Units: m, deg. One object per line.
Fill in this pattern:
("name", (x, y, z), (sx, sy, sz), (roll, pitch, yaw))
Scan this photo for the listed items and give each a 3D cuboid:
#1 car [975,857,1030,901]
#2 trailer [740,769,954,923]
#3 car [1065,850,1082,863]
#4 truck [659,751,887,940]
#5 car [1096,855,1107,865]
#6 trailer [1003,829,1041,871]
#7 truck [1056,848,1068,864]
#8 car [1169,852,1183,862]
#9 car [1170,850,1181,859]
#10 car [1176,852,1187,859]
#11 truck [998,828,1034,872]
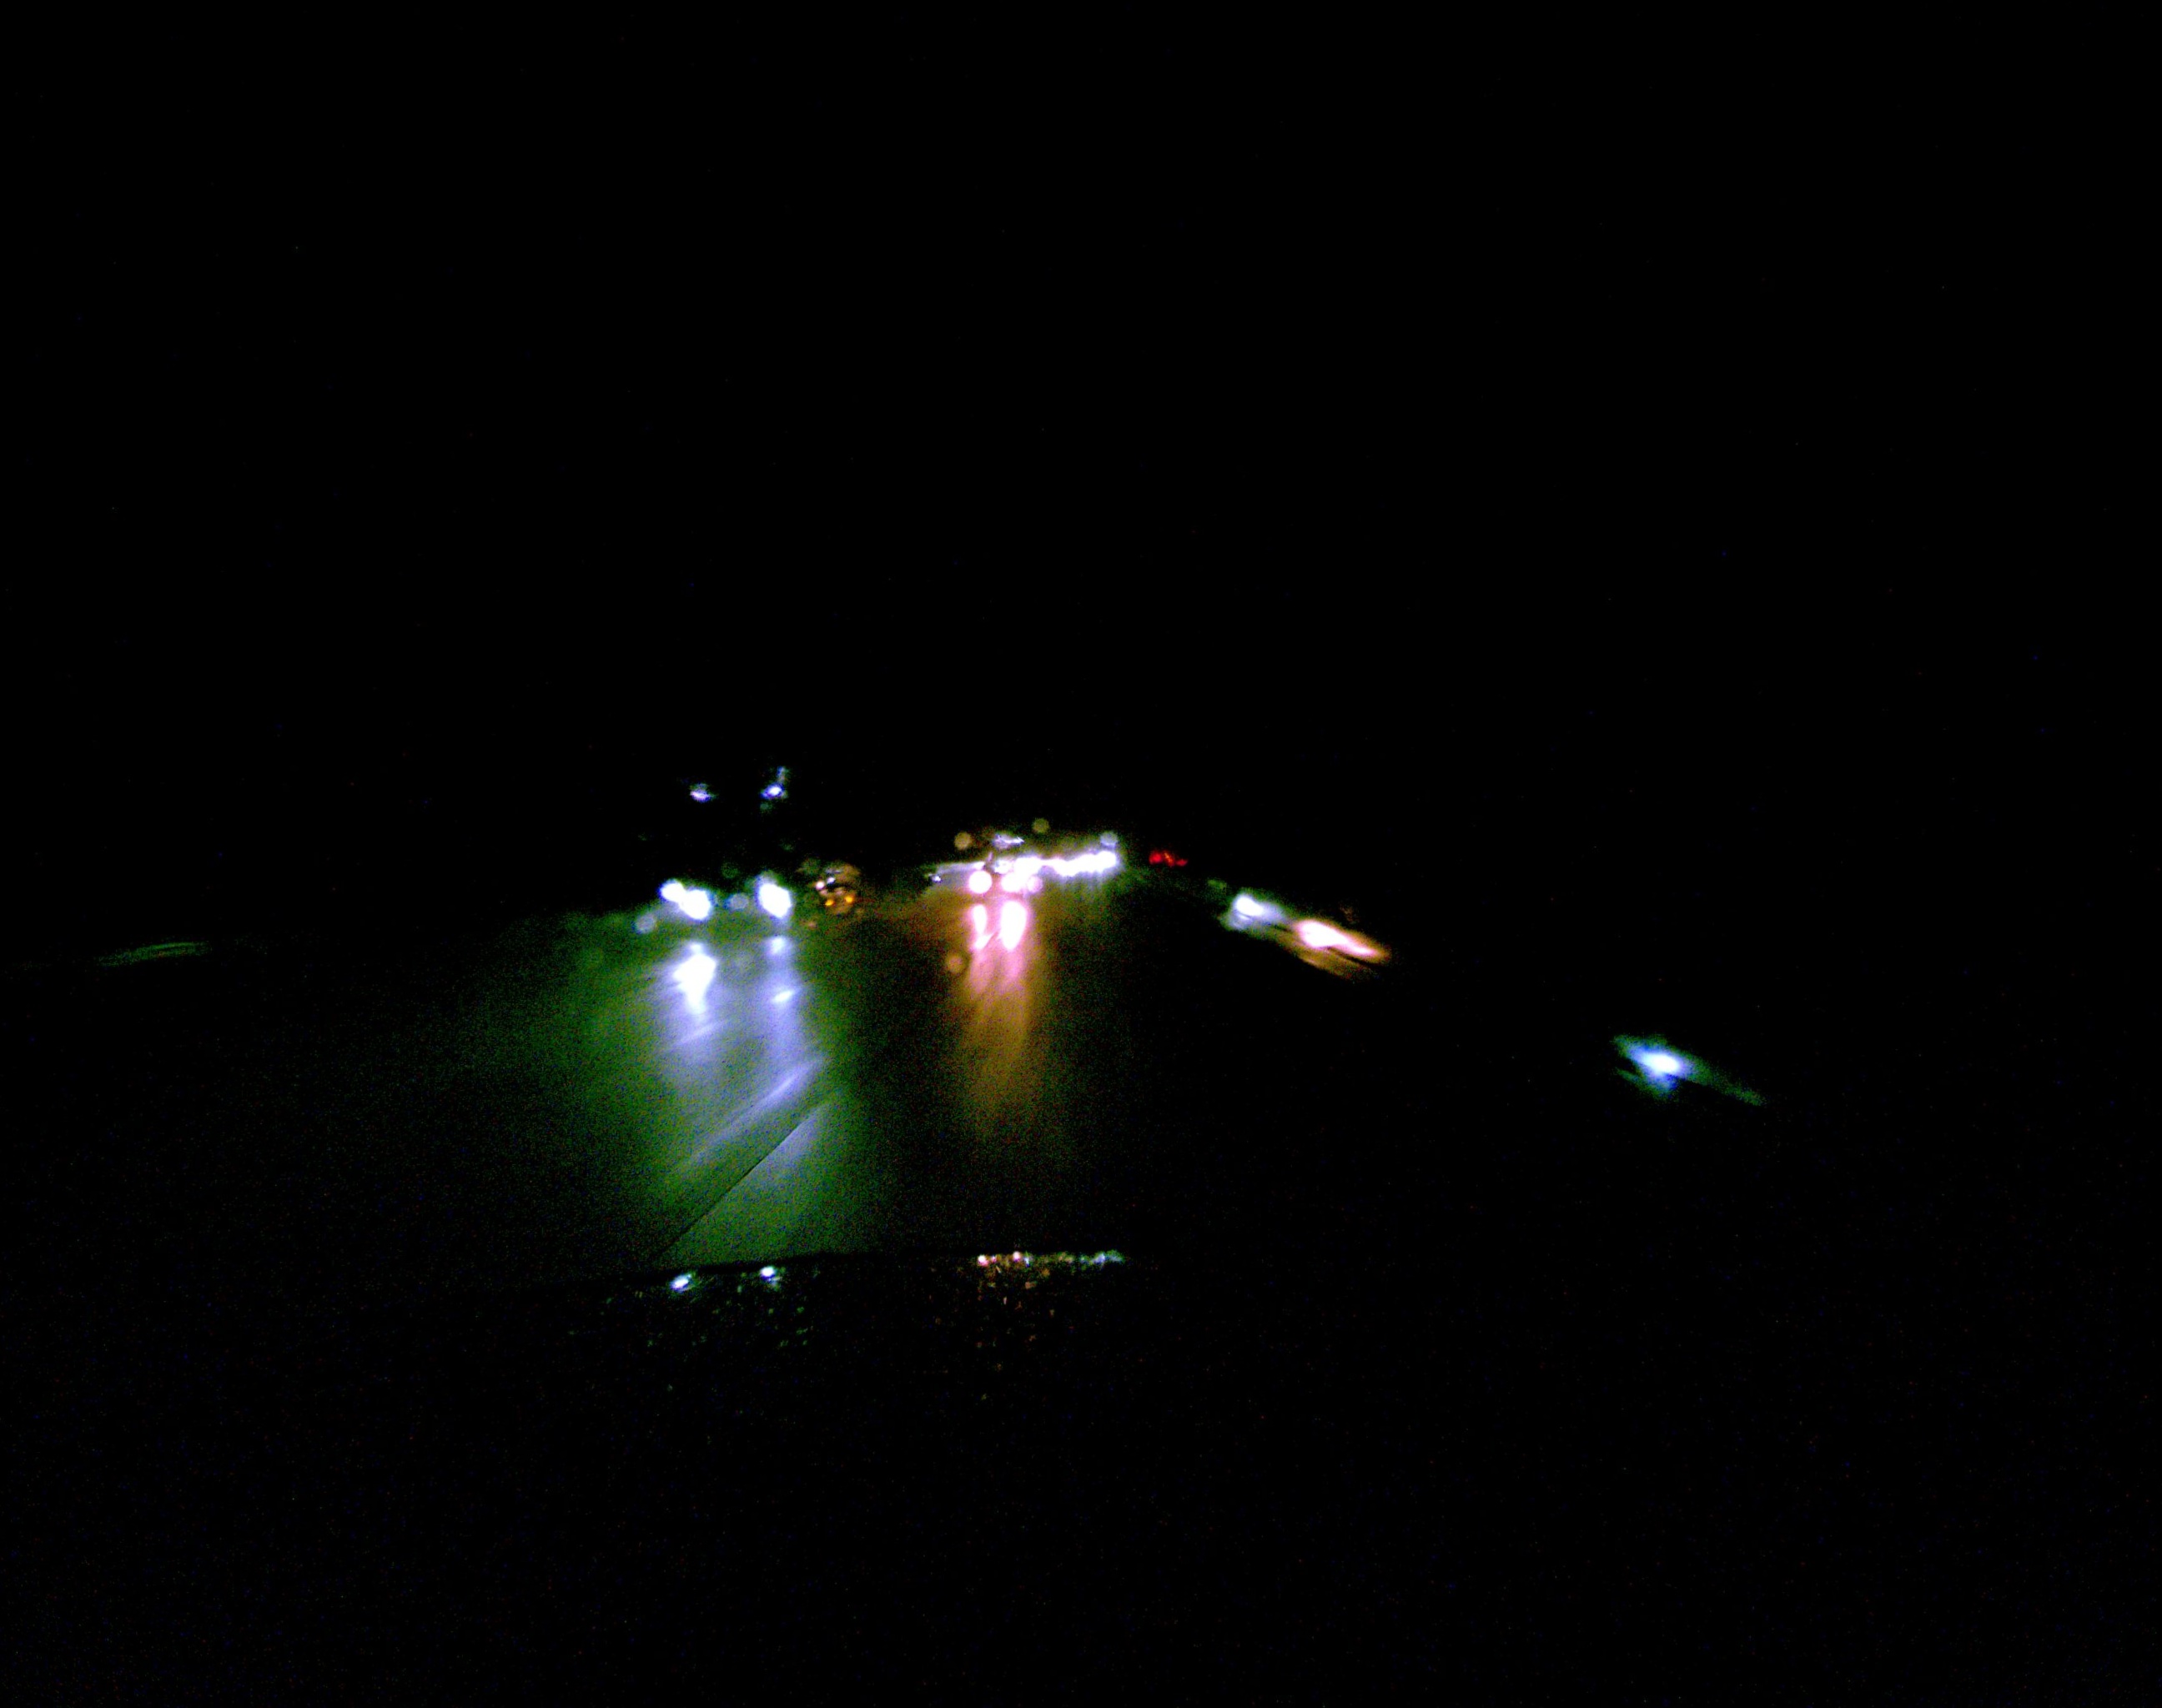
("car", (-3.028, 0.929, 29.986), (1.619, 1.494, 3.767), (-2, 1, 2))
("trailer", (-7.490, -0.282, 27.413), (2.871, 4.074, 13.641), (-2, 1, 2))
("car", (-0.923, 0.264, 98.662), (1.944, 1.521, 4.000), (-2, 1, 2))
("truck", (-7.745, -0.209, 20.391), (2.866, 4.079, 7.014), (-3, 0, 2))
("car", (3.184, 0.908, 118.818), (1.619, 1.452, 3.767), (-2, 1, 2))
("trailer", (-6.292, -0.407, 82.635), (2.753, 4.168, 11.180), (-3, 0, 2))
("truck", (-3.939, 0.287, 157.499), (1.884, 3.147, 6.715), (-2, 1, 2))
("car", (16.229, 0.464, 129.770), (1.789, 1.517, 4.380), (-2, 1, 0))
("car", (26.539, 0.233, 212.645), (2.387, 2.429, 7.148), (1, 0, 2))
("car", (20.984, 0.265, 158.951), (1.694, 1.499, 4.272), (1, 0, 2))
("truck", (-6.500, -0.366, 76.909), (2.778, 4.168, 6.016), (-3, 1, 2))
